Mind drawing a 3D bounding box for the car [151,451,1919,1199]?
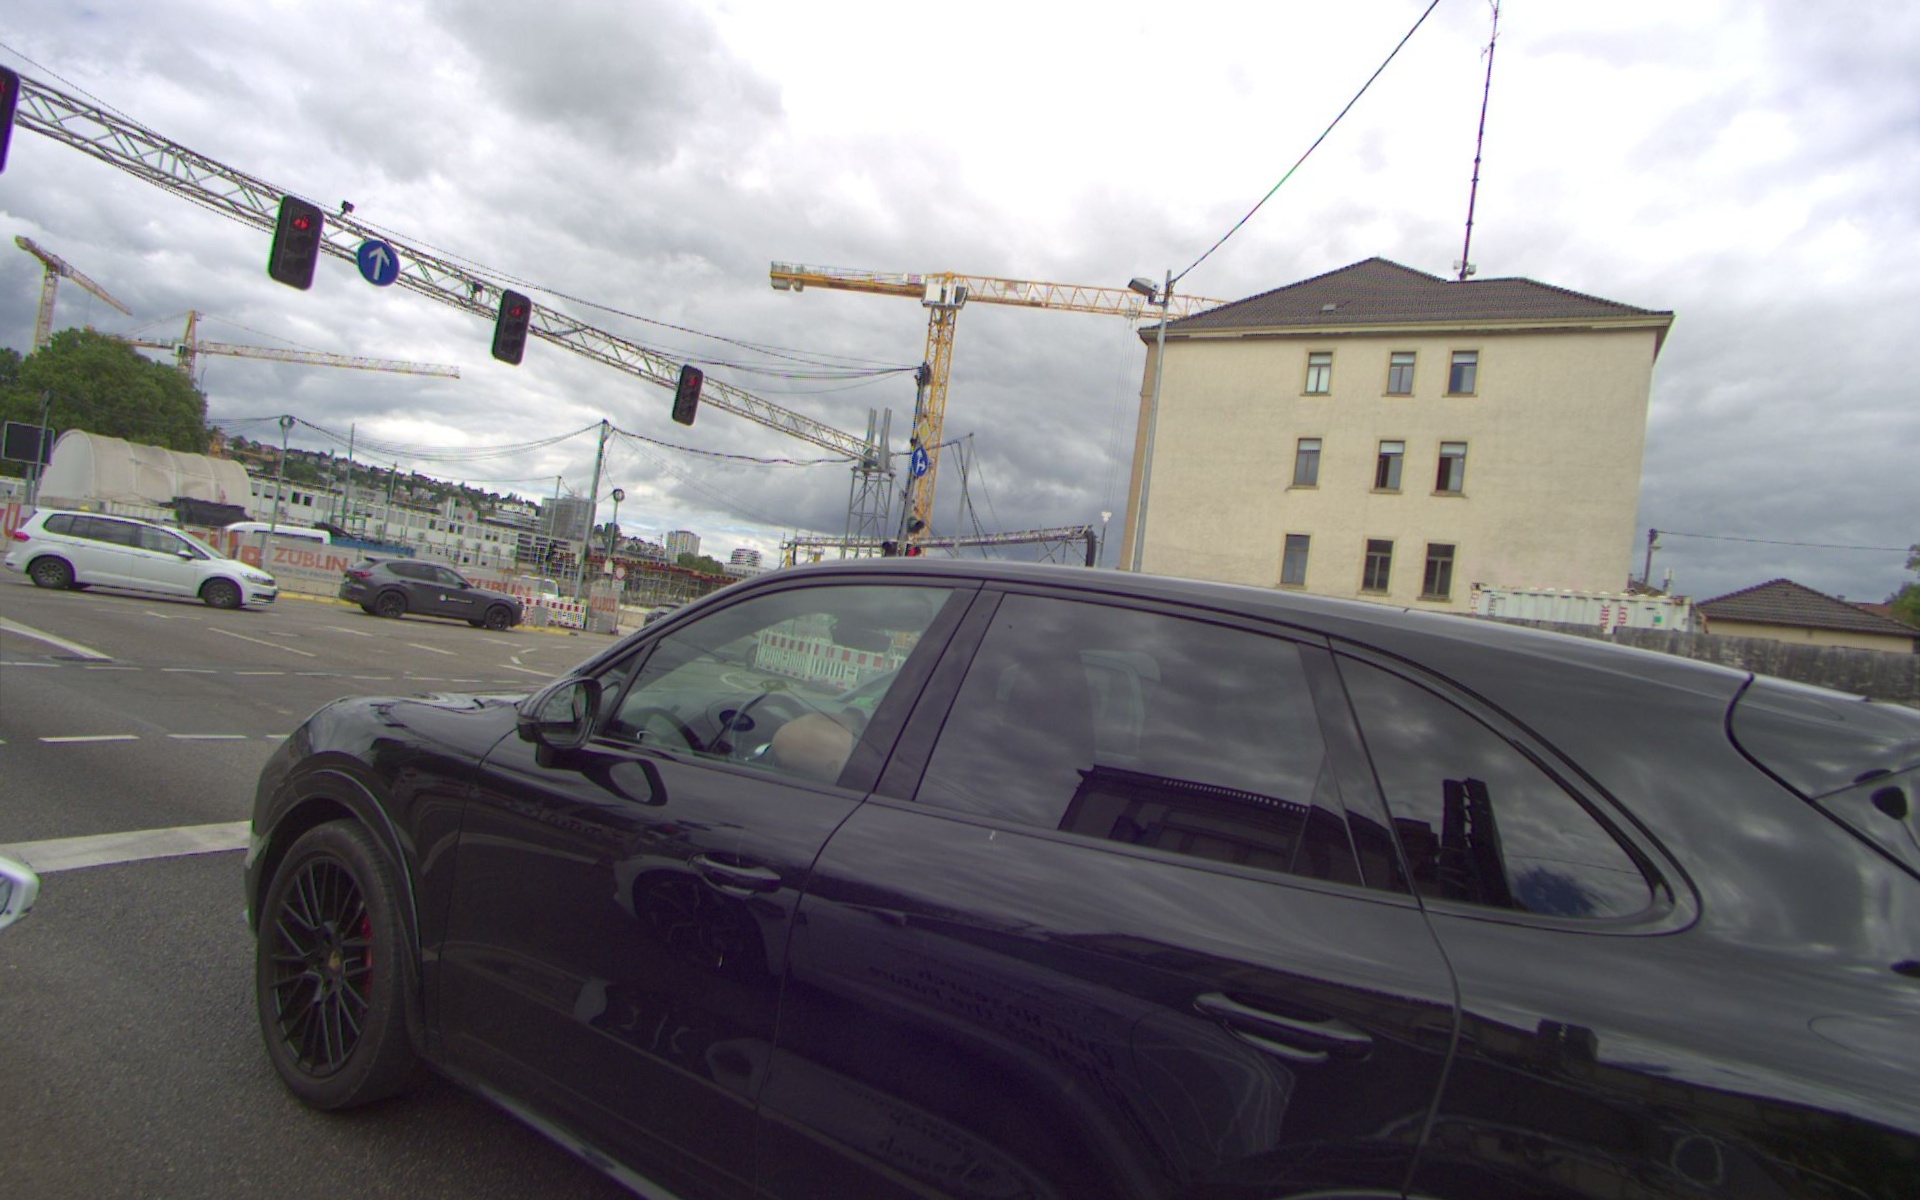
[{"bbox_3d":[0.034,0.718,2.695,4.559,1.705,1.959,7,-2,33],"label":"car"}]

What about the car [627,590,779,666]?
[{"bbox_3d":[-7.642,0.881,30.282,1.773,1.687,4.056,7,-3,37],"label":"car"}]

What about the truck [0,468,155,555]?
[{"bbox_3d":[-57.890,-5.762,61.944,3.875,4.086,13.089,8,-2,12],"label":"truck"}]

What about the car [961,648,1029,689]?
[{"bbox_3d":[1.849,3.550,51.662,1.769,1.687,4.065,7,-3,28],"label":"car"}]

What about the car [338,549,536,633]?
[{"bbox_3d":[-14.958,-0.223,28.942,4.585,1.689,1.861,11,-3,-44],"label":"car"}]

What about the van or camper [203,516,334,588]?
[{"bbox_3d":[-29.805,-2.054,43.418,4.204,2.384,1.976,10,-3,-44],"label":"van or camper"}]

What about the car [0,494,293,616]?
[{"bbox_3d":[-17.041,-0.891,21.353,4.393,1.755,1.872,10,-2,-26],"label":"car"}]

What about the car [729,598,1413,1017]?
[{"bbox_3d":[0.591,1.046,6.371,3.818,1.561,1.667,7,-2,33],"label":"car"}]
